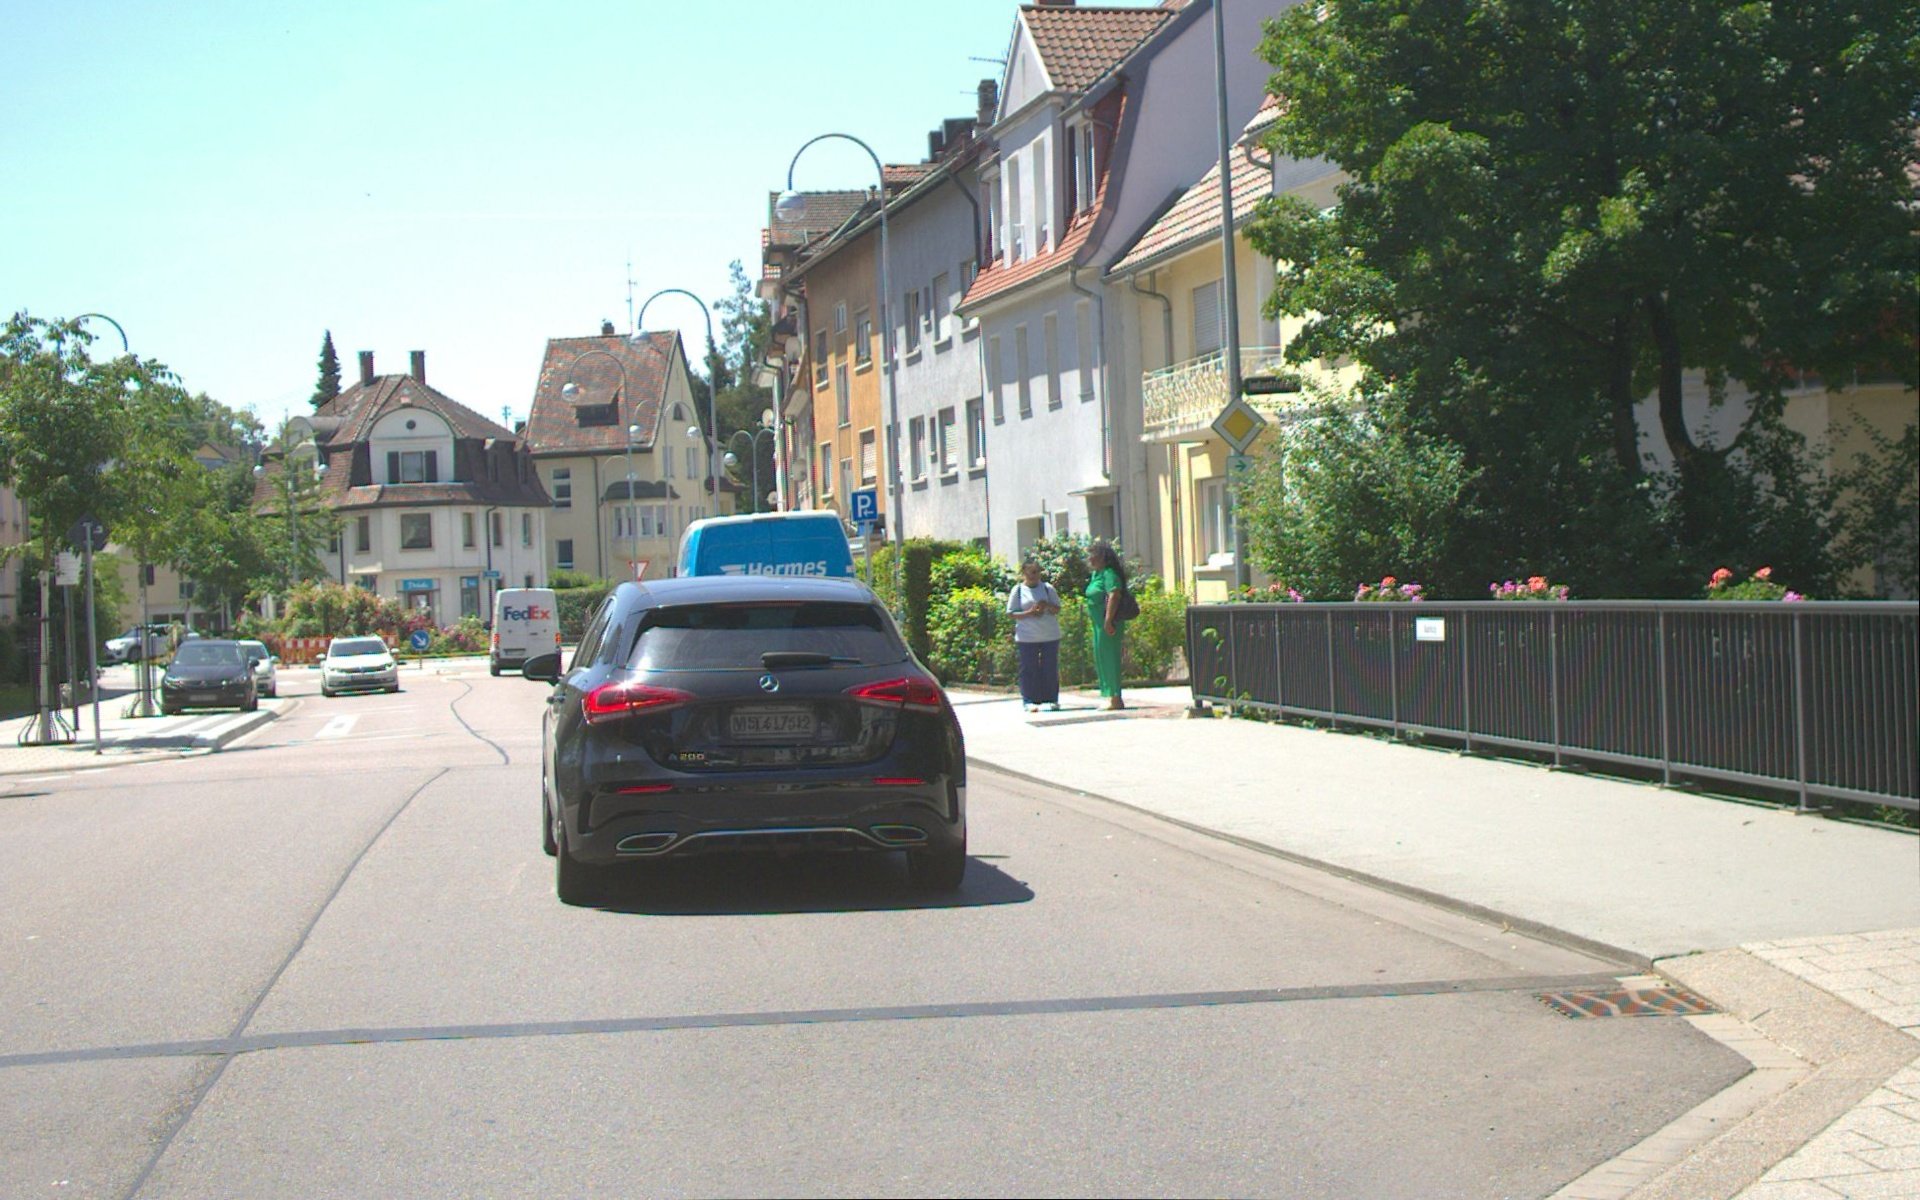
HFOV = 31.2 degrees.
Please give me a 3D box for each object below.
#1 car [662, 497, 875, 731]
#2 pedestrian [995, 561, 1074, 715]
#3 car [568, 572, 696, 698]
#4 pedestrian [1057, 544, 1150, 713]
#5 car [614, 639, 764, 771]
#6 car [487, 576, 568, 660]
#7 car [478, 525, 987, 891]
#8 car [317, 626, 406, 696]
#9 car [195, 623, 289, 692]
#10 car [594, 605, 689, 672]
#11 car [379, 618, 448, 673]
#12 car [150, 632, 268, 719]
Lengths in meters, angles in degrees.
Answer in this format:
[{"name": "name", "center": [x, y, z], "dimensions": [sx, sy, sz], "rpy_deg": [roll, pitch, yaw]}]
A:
[{"name": "car", "center": [-2.339, 0.155, 40.779], "dimensions": [2.132, 2.533, 4.650], "rpy_deg": [-2, 0, -7]}, {"name": "pedestrian", "center": [0.794, 0.403, 37.004], "dimensions": [0.613, 1.607, 0.838], "rpy_deg": [-2, 0, -12]}, {"name": "car", "center": [-5.781, 0.576, 60.293], "dimensions": [1.993, 2.007, 4.001], "rpy_deg": [-2, 1, -8]}, {"name": "pedestrian", "center": [1.504, 0.296, 36.115], "dimensions": [0.660, 1.735, 0.702], "rpy_deg": [-2, 0, -25]}, {"name": "car", "center": [-4.225, 1.580, 52.979], "dimensions": [1.993, 1.740, 4.330], "rpy_deg": [-2, 1, -8]}, {"name": "car", "center": [-12.791, 0.499, 101.580], "dimensions": [2.244, 2.335, 4.854], "rpy_deg": [-1, 1, -7]}, {"name": "car", "center": [-1.213, 0.532, 16.312], "dimensions": [1.827, 1.437, 4.000], "rpy_deg": [-3, -2, -12]}, {"name": "car", "center": [-14.843, 1.491, 85.382], "dimensions": [1.993, 1.654, 4.001], "rpy_deg": [0, 0, -7]}, {"name": "car", "center": [-18.110, 1.421, 86.823], "dimensions": [1.993, 1.654, 4.001], "rpy_deg": [0, 0, -7]}, {"name": "car", "center": [-7.574, 0.886, 81.520], "dimensions": [1.993, 1.387, 4.330], "rpy_deg": [-2, 1, -8]}, {"name": "car", "center": [-17.135, 1.415, 107.884], "dimensions": [1.993, 1.654, 4.001], "rpy_deg": [0, 0, -7]}, {"name": "car", "center": [-15.248, 1.515, 69.988], "dimensions": [1.993, 1.654, 4.001], "rpy_deg": [0, 0, -7]}]
